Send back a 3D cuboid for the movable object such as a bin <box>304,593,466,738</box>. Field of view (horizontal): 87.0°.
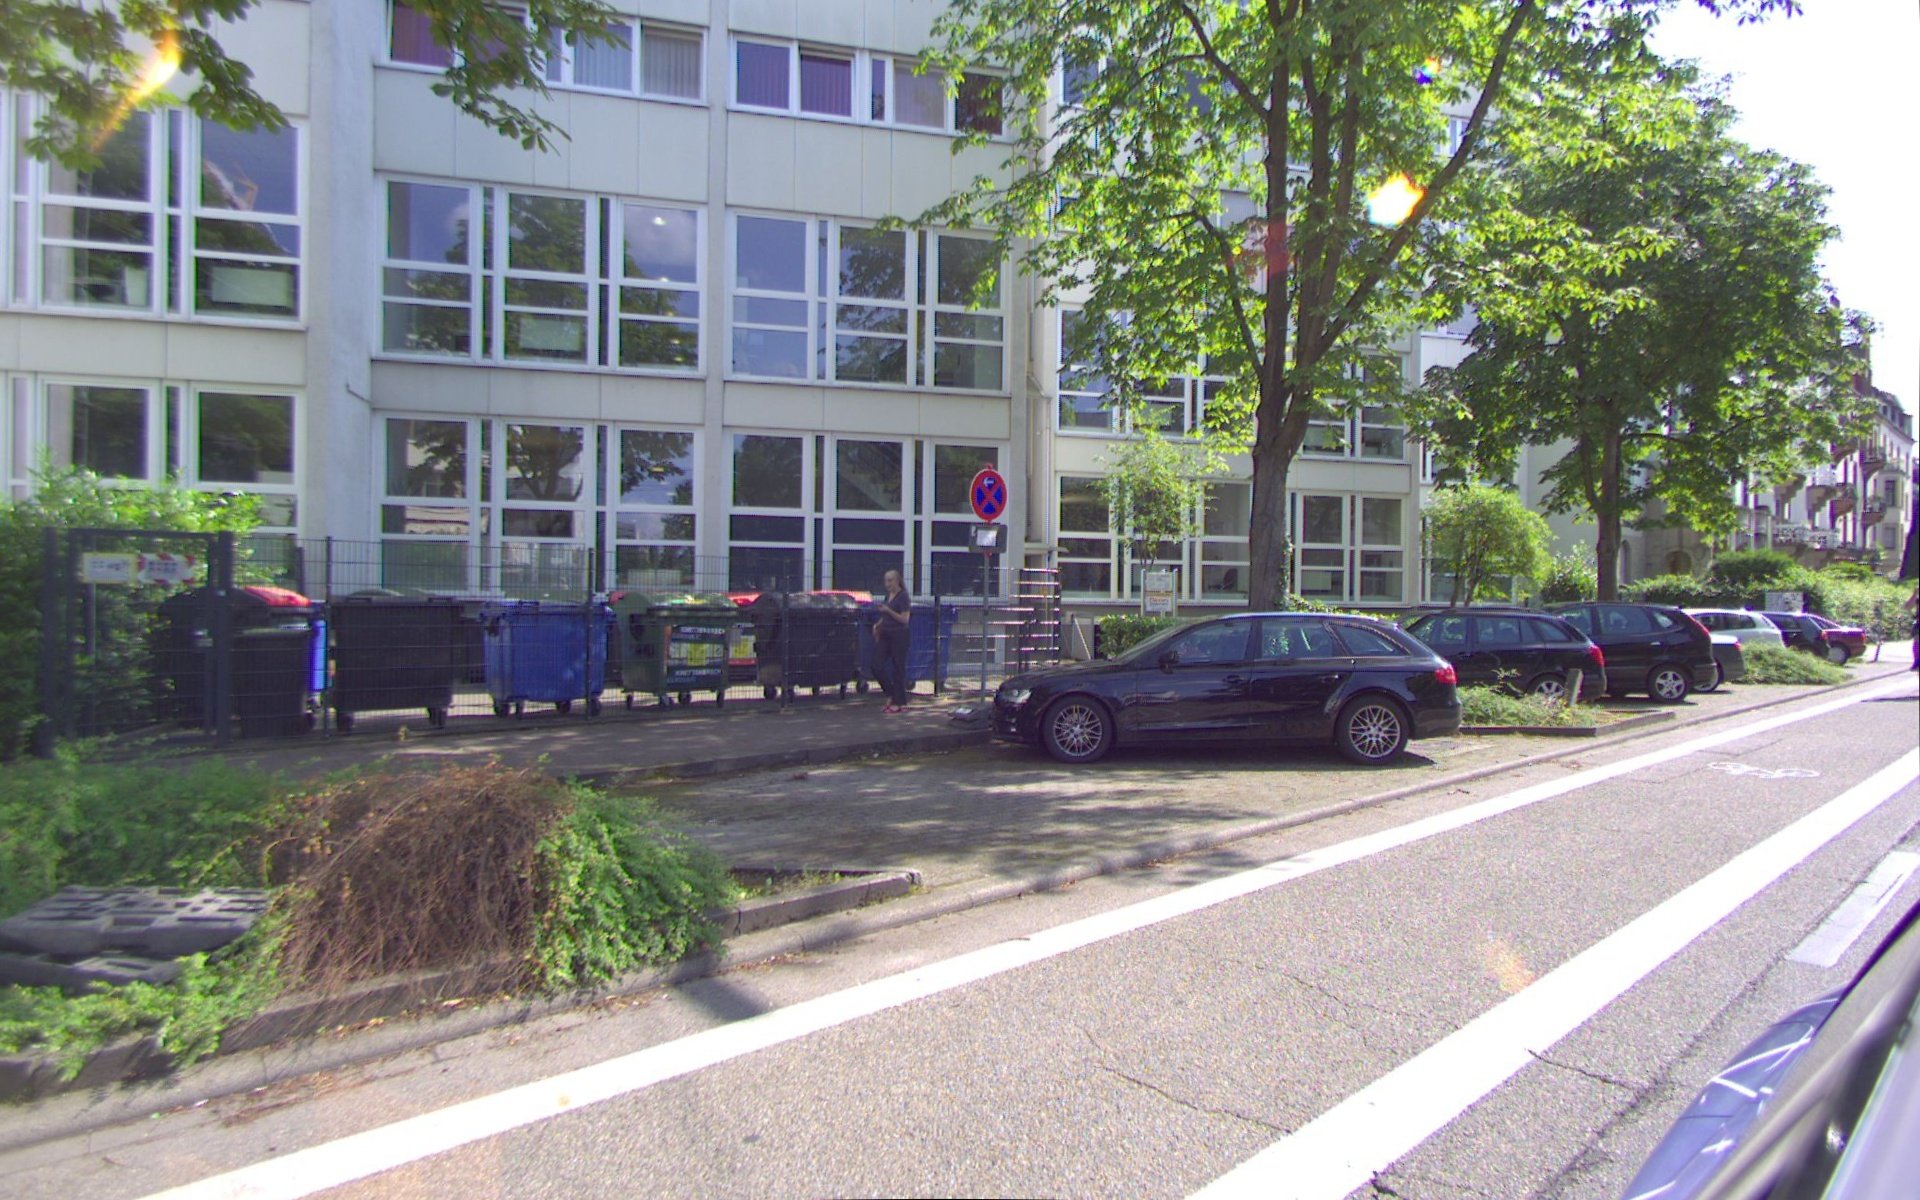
[{"bbox_3d":[-5.909,0.625,10.390,1.215,1.353,1.276,0,-1,-41],"label":"movable object such as a bin"}]

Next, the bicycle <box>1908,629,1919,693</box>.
[{"bbox_3d":[17.028,1.049,17.532,1.804,1.057,0.617,-1,5,-41],"label":"bicycle"}]

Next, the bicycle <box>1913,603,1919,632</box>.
[{"bbox_3d":[42.955,0.750,44.893,2.472,1.246,0.741,0,1,-41],"label":"bicycle"}]

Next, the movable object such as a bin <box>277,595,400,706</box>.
[{"bbox_3d":[-8.257,0.636,13.515,1.237,1.355,1.216,1,2,-24],"label":"movable object such as a bin"}]

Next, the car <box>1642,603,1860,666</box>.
[{"bbox_3d":[19.560,0.817,25.179,3.932,1.467,1.696,0,0,8],"label":"car"}]

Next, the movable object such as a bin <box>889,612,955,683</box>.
[{"bbox_3d":[-0.667,0.800,17.381,0.910,1.103,1.037,1,3,-15],"label":"movable object such as a bin"}]

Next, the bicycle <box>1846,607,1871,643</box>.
[{"bbox_3d":[29.451,0.812,33.148,1.975,1.122,0.280,0,4,-41],"label":"bicycle"}]

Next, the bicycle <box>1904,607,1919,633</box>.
[{"bbox_3d":[38.749,0.811,40.932,1.839,1.001,0.613,0,3,-41],"label":"bicycle"}]

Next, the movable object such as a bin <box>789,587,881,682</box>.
[{"bbox_3d":[-2.114,0.545,16.894,1.237,1.465,1.383,1,2,-19],"label":"movable object such as a bin"}]

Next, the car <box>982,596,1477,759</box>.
[{"bbox_3d":[2.512,0.737,10.365,4.456,1.460,2.029,-1,-1,5],"label":"car"}]

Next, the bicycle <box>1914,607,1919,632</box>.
[{"bbox_3d":[40.585,0.825,42.409,2.321,1.008,0.612,0,4,-41],"label":"bicycle"}]

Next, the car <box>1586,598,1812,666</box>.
[{"bbox_3d":[16.856,0.705,23.228,3.929,1.479,1.534,0,0,5],"label":"car"}]

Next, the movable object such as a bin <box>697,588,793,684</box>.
[{"bbox_3d":[-3.499,0.550,16.419,1.422,1.474,1.212,0,0,-17],"label":"movable object such as a bin"}]

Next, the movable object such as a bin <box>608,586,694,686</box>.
[{"bbox_3d":[-4.944,0.547,16.166,1.237,1.465,1.383,1,2,-19],"label":"movable object such as a bin"}]

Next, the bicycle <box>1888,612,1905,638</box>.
[{"bbox_3d":[34.874,0.931,37.685,1.639,0.918,0.274,0,0,-41],"label":"bicycle"}]

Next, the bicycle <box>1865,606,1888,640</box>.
[{"bbox_3d":[32.068,0.794,35.407,1.975,1.122,0.280,0,4,-41],"label":"bicycle"}]

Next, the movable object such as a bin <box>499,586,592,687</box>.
[{"bbox_3d":[-6.443,0.544,15.826,1.237,1.465,1.383,1,2,-19],"label":"movable object such as a bin"}]

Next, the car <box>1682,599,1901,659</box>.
[{"bbox_3d":[22.071,0.742,27.034,4.090,1.441,1.863,1,1,8],"label":"car"}]

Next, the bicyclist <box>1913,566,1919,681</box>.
[{"bbox_3d":[16.991,0.400,17.495,1.110,1.973,0.608,0,-1,-41],"label":"bicyclist"}]

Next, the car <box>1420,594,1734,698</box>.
[{"bbox_3d":[9.969,0.726,16.676,3.933,1.595,1.900,0,-1,9],"label":"car"}]

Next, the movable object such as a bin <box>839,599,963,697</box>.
[{"bbox_3d":[-0.864,0.653,14.711,1.302,1.335,1.277,0,0,-40],"label":"movable object such as a bin"}]

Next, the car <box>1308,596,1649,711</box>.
[{"bbox_3d":[7.333,0.740,14.665,4.005,1.462,1.723,1,-2,6],"label":"car"}]

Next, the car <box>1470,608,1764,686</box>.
[{"bbox_3d":[12.002,0.839,18.744,4.102,1.366,1.902,0,-1,6],"label":"car"}]

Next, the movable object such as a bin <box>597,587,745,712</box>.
[{"bbox_3d":[-3.608,0.601,12.657,1.274,1.456,1.331,-2,-3,43],"label":"movable object such as a bin"}]

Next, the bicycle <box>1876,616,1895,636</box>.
[{"bbox_3d":[33.491,0.931,36.630,1.531,0.685,0.280,0,4,-41],"label":"bicycle"}]

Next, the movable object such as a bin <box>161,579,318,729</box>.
[{"bbox_3d":[-7.706,0.558,10.900,0.918,1.500,1.270,1,-1,-13],"label":"movable object such as a bin"}]

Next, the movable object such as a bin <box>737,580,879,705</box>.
[{"bbox_3d":[-2.037,0.526,13.539,1.443,1.558,1.277,0,0,-40],"label":"movable object such as a bin"}]

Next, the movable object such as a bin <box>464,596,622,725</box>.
[{"bbox_3d":[-4.777,0.645,11.585,1.335,1.353,1.276,0,-1,-42],"label":"movable object such as a bin"}]

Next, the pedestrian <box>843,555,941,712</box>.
[{"bbox_3d":[-0.867,0.398,12.832,0.983,1.897,0.763,0,0,-34],"label":"pedestrian"}]
